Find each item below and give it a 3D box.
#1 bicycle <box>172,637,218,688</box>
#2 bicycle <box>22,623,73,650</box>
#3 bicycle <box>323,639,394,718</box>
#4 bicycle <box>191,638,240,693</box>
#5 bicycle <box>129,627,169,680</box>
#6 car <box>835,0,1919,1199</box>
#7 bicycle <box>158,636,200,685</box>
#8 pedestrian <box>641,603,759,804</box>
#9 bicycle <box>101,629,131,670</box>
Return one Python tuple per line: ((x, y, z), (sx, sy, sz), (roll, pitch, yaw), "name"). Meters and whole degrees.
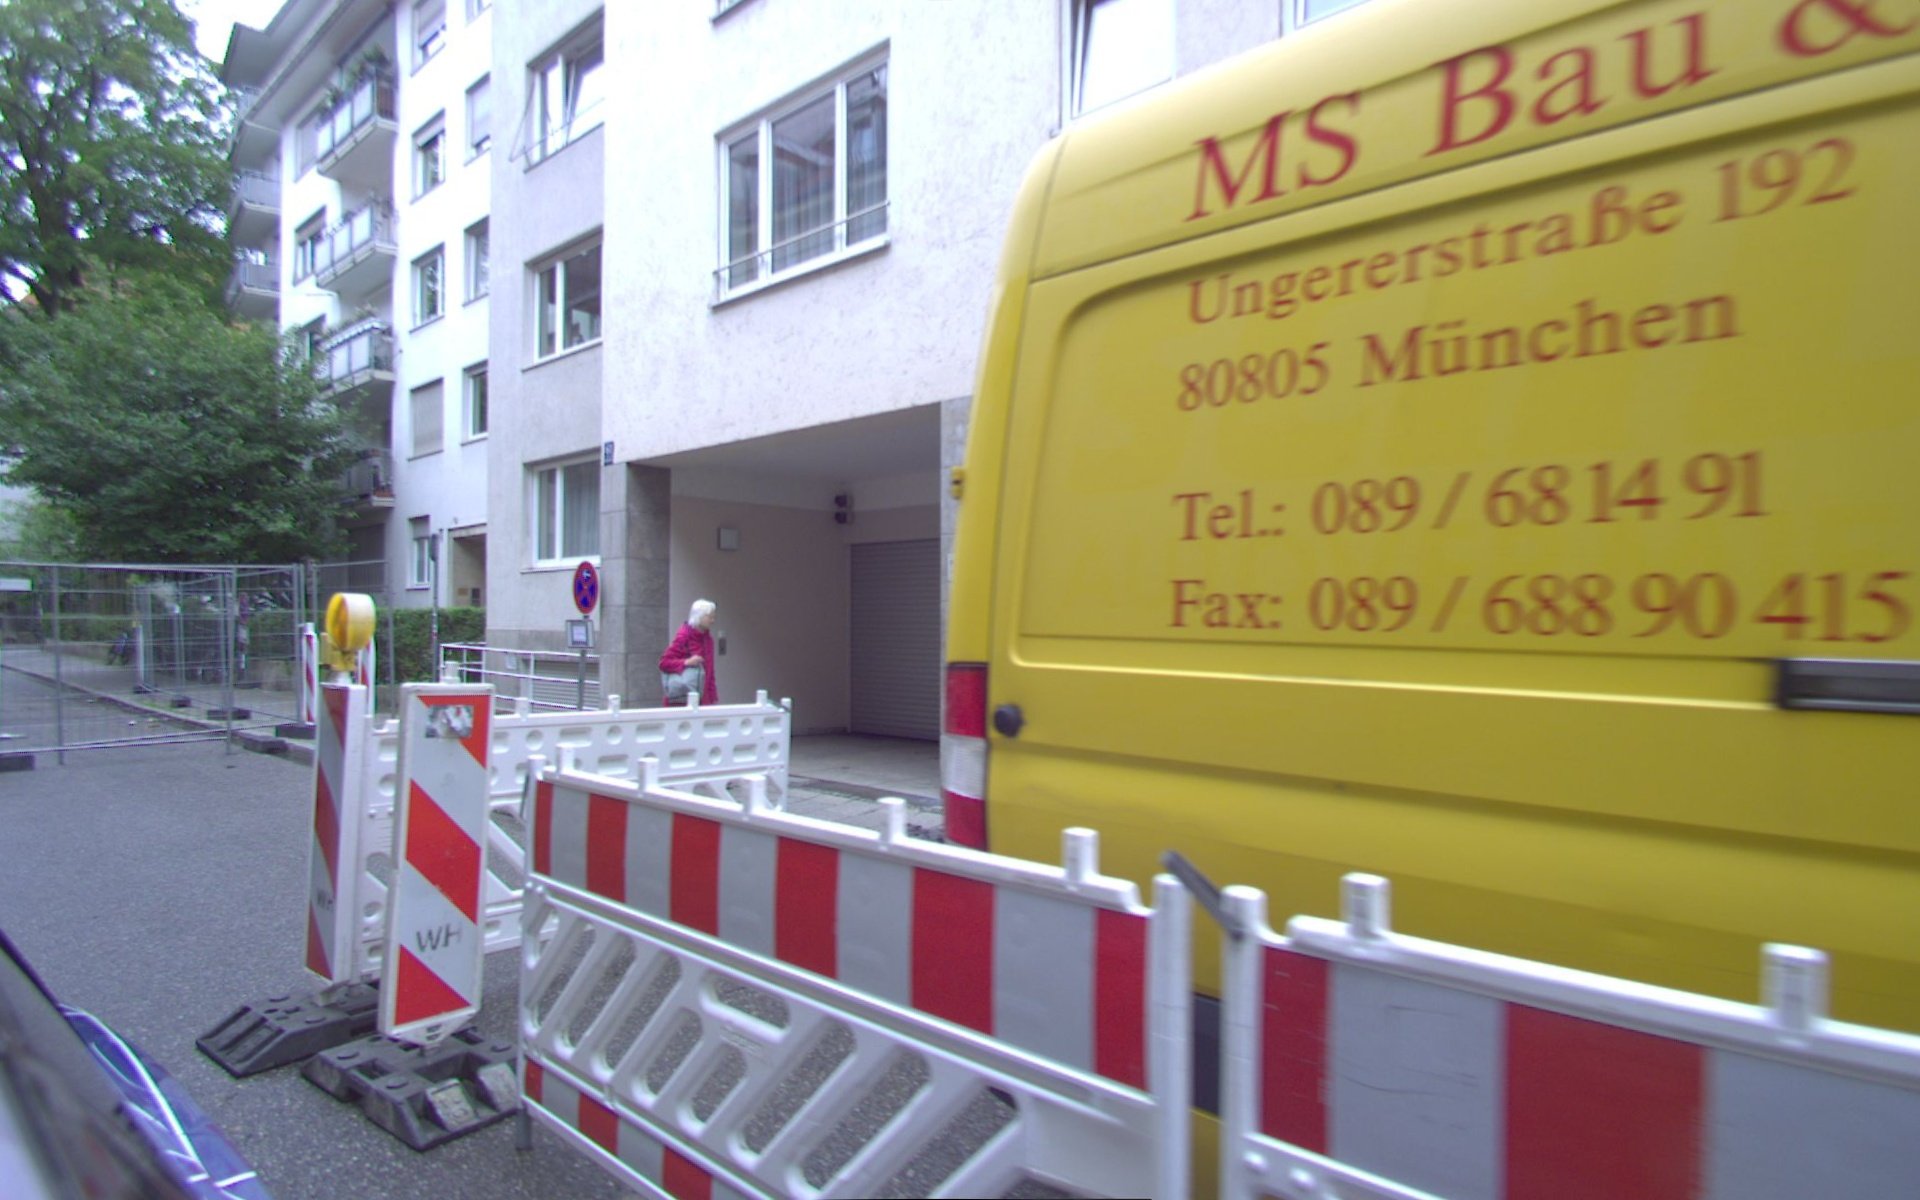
((-16.356, 1.314, 21.617), (1.853, 0.986, 0.439), (0, 2, 43), "bicycle")
((-44.569, 1.765, 49.460), (0.432, 1.270, 1.788), (-1, -2, 40), "bicycle")
((-9.008, 1.147, 15.129), (1.597, 1.071, 0.373), (-1, 4, 42), "bicycle")
((-14.982, 1.296, 20.355), (1.816, 0.986, 0.439), (0, 2, 43), "bicycle")
((-19.422, 1.258, 24.228), (1.699, 1.160, 0.483), (0, 2, 43), "bicycle")
((2.892, 0.131, 0.933), (6.733, 2.598, 1.973), (-1, -3, 41), "car")
((-17.506, 1.332, 22.673), (1.699, 0.986, 0.431), (0, 2, 43), "bicycle")
((-2.123, 0.807, 8.265), (0.747, 1.543, 0.631), (-2, -2, 44), "pedestrian")
((-23.368, 1.364, 28.000), (1.779, 1.080, 0.343), (-1, 1, 42), "bicycle")
